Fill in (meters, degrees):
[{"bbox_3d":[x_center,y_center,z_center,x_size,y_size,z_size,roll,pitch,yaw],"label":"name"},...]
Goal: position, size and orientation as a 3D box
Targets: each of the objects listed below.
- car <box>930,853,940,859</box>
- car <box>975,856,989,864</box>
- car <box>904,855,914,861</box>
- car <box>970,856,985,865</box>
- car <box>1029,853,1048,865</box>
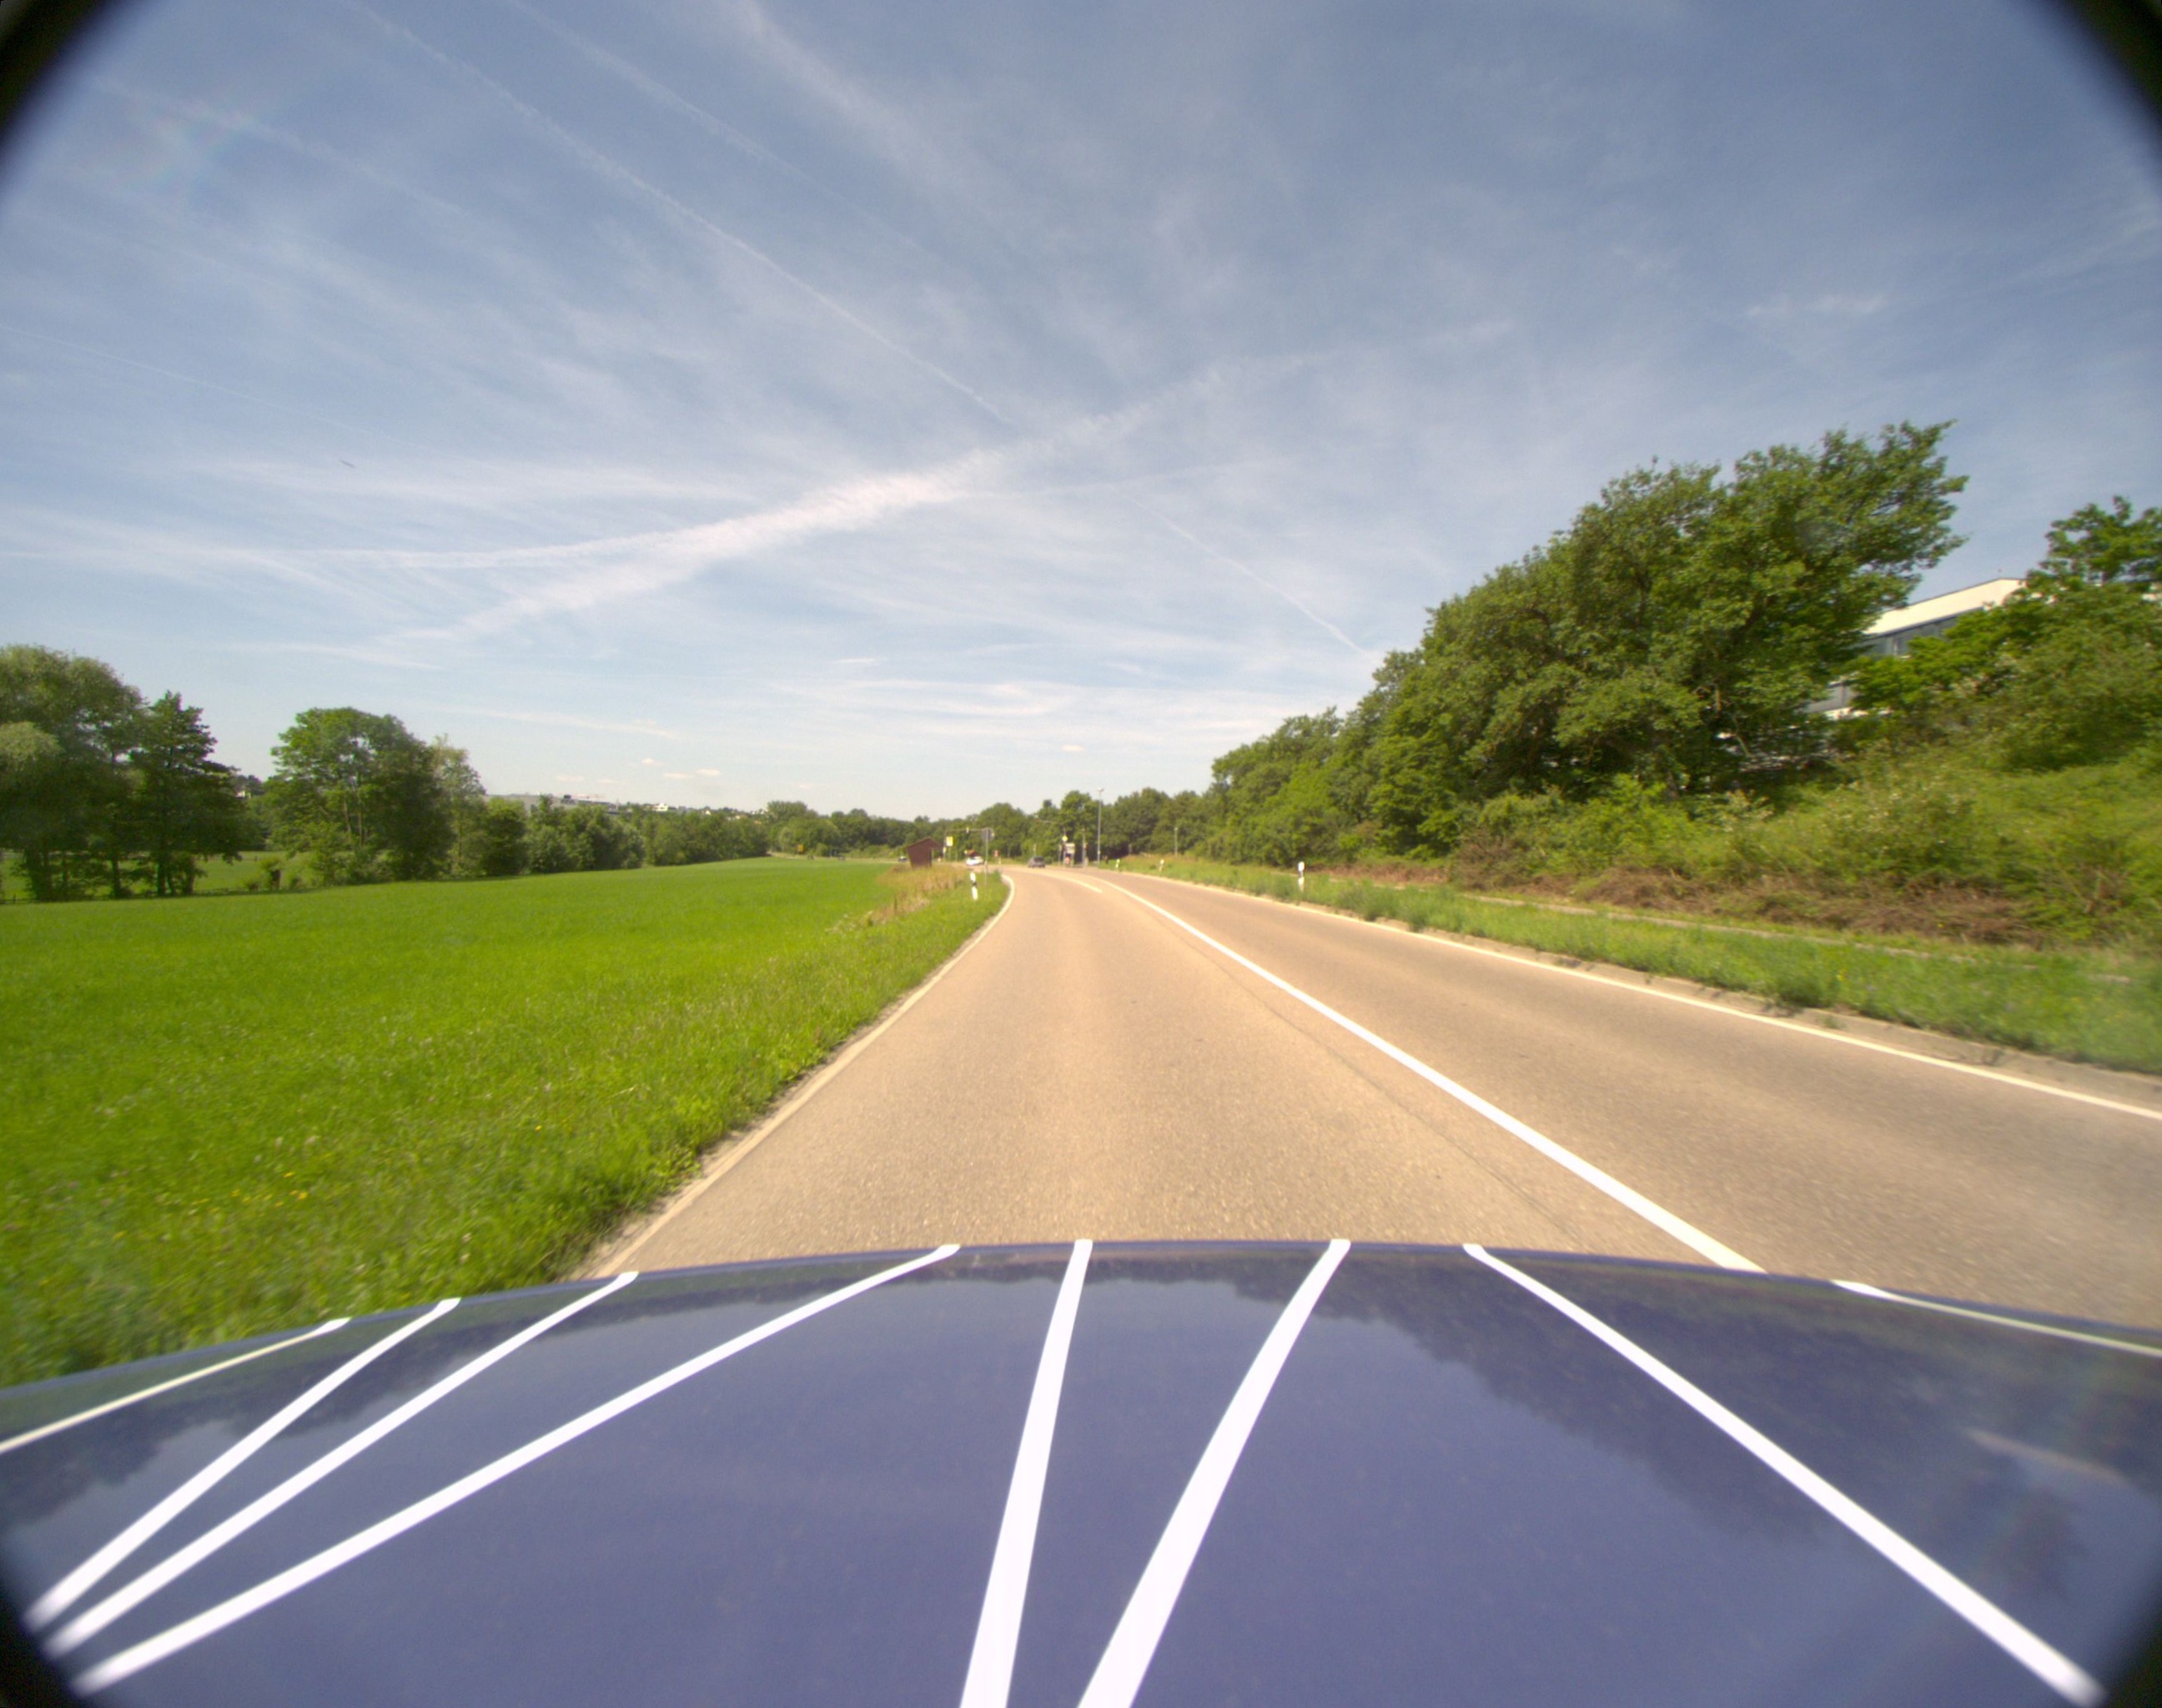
[{"bbox_3d":[-37.105,0.592,192.987,1.714,1.474,3.825,-2,0,-23],"label":"car"},{"bbox_3d":[-19.707,1.166,151.366,1.945,1.539,4.620,-2,0,-19],"label":"car"},{"bbox_3d":[-48.622,1.179,214.689,1.983,1.553,4.181,-2,0,-22],"label":"car"},{"bbox_3d":[-18.849,1.156,138.505,2.001,1.576,3.994,-2,0,-18],"label":"car"},{"bbox_3d":[-5.728,0.740,102.707,1.761,1.525,4.223,-2,0,-14],"label":"car"}]
